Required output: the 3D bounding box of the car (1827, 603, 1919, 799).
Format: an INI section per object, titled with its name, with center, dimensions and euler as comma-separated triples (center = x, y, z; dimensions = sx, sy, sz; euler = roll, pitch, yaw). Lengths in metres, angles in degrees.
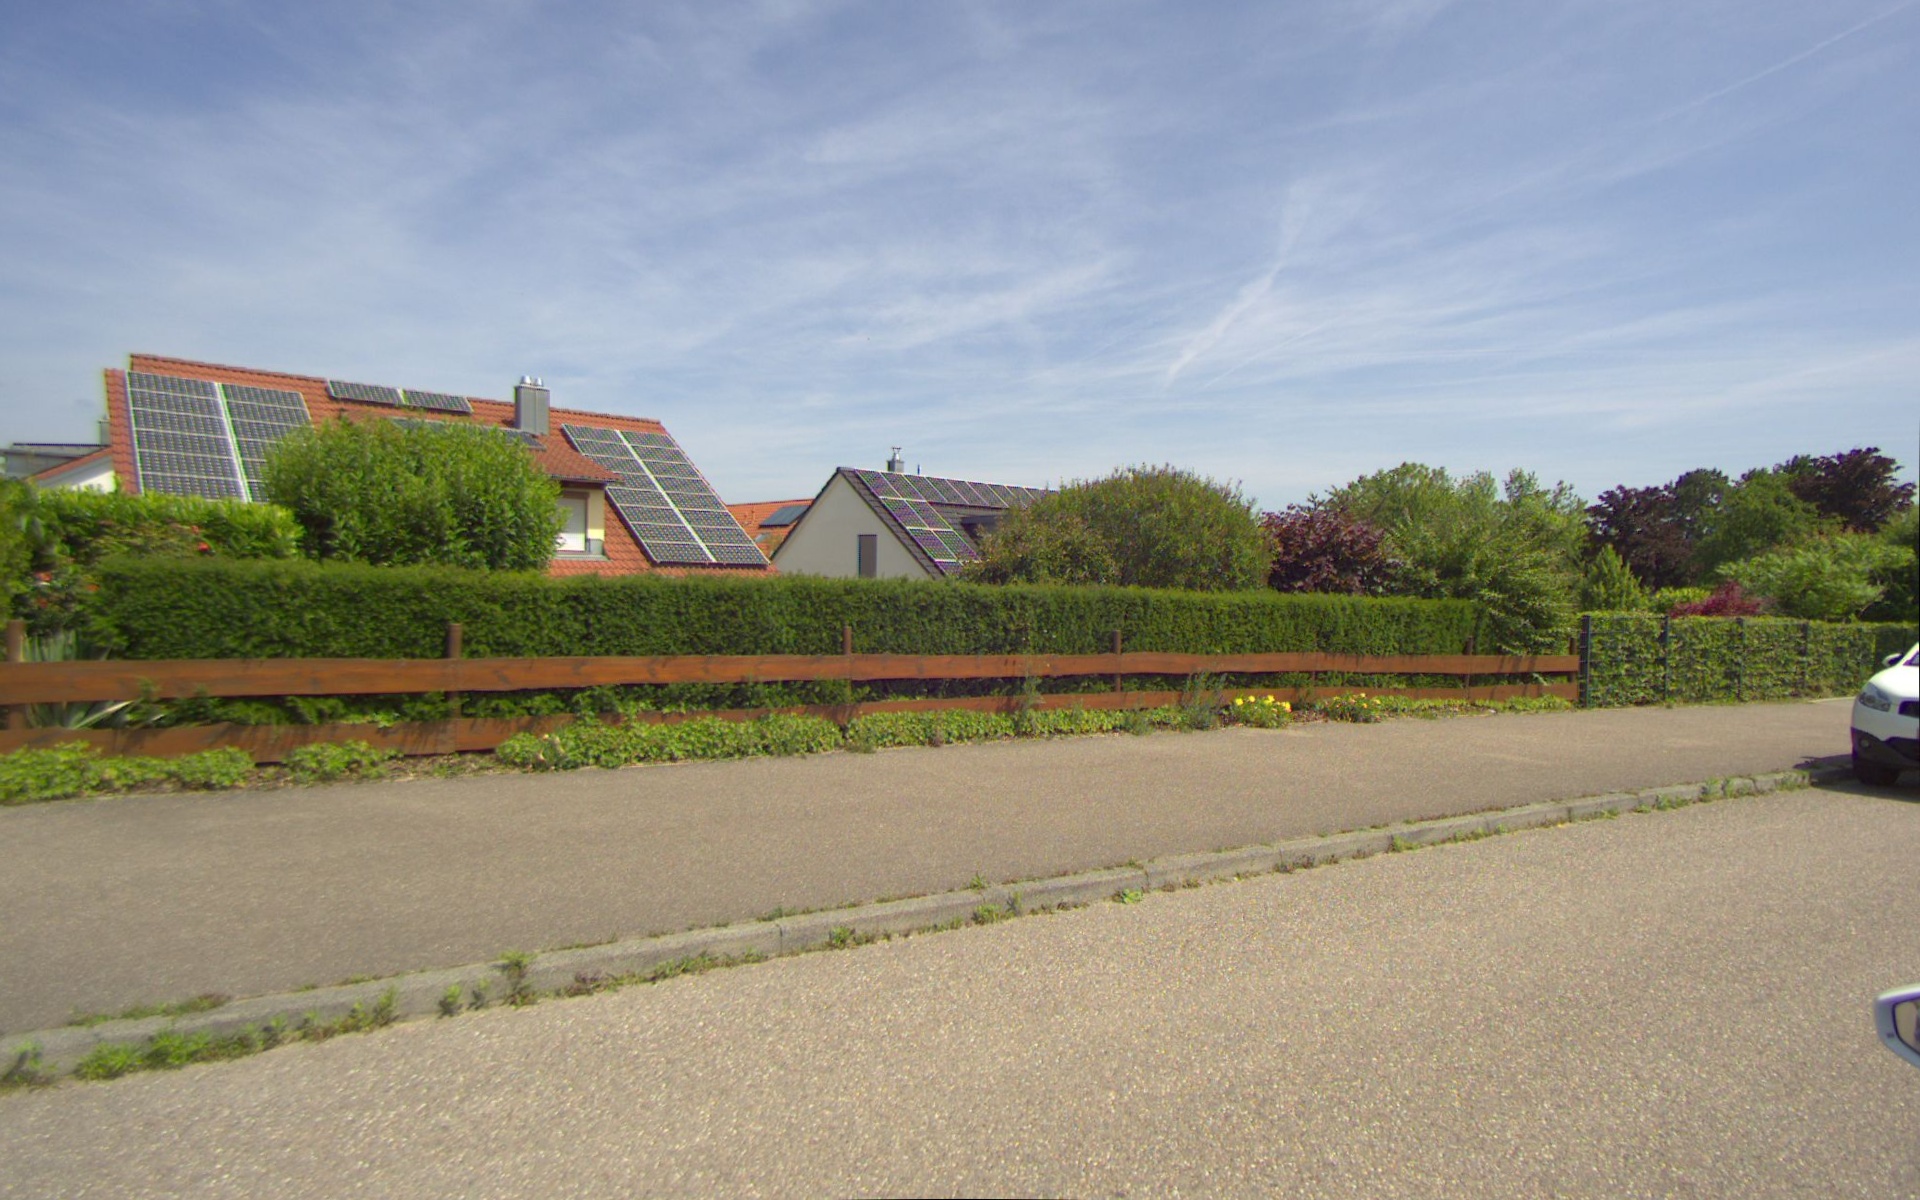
[car]
center = 10.112, 0.935, 9.462
dimensions = 4.304, 1.655, 1.725
euler = 2, 0, -32
